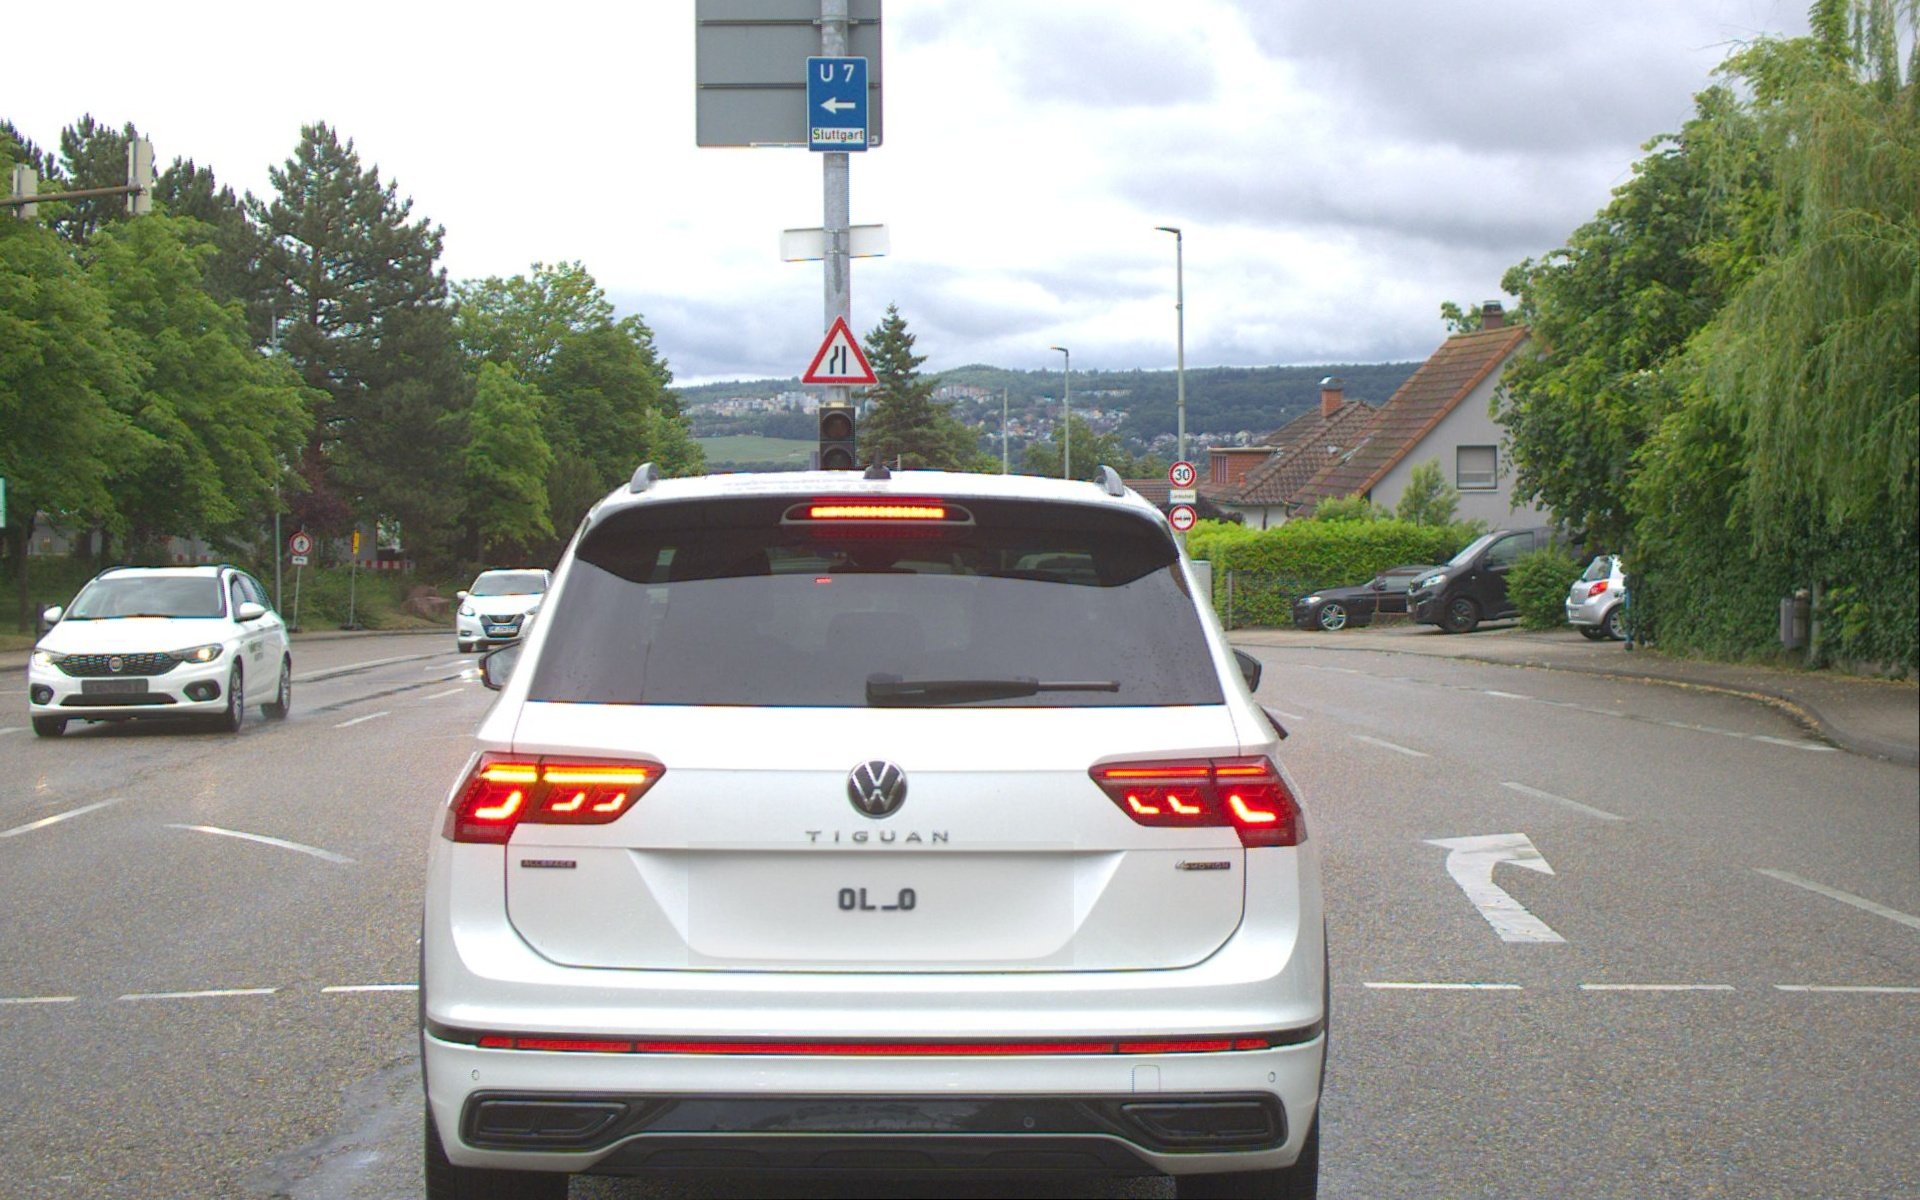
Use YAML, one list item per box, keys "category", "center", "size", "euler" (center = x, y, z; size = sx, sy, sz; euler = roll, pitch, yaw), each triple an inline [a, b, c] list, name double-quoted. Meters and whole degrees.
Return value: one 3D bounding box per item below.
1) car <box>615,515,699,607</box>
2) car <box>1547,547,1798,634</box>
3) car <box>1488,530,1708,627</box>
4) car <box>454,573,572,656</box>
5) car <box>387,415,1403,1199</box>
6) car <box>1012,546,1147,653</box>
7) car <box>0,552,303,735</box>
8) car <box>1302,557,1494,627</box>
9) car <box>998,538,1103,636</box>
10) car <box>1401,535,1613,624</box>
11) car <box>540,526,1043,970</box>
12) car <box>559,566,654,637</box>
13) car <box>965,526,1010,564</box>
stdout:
- category: "car"
  center: [-8.651, -1.139, 98.338]
  size: [2.297, 2.519, 5.775]
  euler: [-1, 1, -5]
- category: "car"
  center: [11.867, -0.153, 57.375]
  size: [3.713, 1.390, 1.729]
  euler: [-1, 0, -7]
- category: "car"
  center: [11.611, -0.405, 62.741]
  size: [3.627, 1.740, 1.708]
  euler: [0, 1, -4]
- category: "car"
  center: [-7.968, 0.235, 61.531]
  size: [1.746, 1.392, 3.802]
  euler: [0, 1, -2]
- category: "car"
  center: [-0.171, 0.505, 8.245]
  size: [1.763, 1.690, 4.273]
  euler: [2, 1, -1]
- category: "car"
  center: [1.697, -0.043, 49.726]
  size: [1.680, 1.455, 3.802]
  euler: [1, 1, -2]
- category: "car"
  center: [-7.390, 0.340, 31.563]
  size: [1.967, 1.449, 4.309]
  euler: [-1, 2, -2]
- category: "car"
  center: [8.899, -0.159, 70.023]
  size: [3.687, 1.365, 1.519]
  euler: [1, -1, -2]
- category: "car"
  center: [1.649, -0.265, 63.616]
  size: [1.712, 1.752, 3.802]
  euler: [0, 1, -2]
- category: "car"
  center: [10.338, -0.398, 65.145]
  size: [3.627, 1.620, 1.792]
  euler: [1, 2, -4]
- category: "car"
  center: [-0.613, 0.500, 14.345]
  size: [1.798, 1.584, 3.926]
  euler: [1, 1, 0]
- category: "car"
  center: [-7.905, 0.006, 77.106]
  size: [1.775, 1.497, 4.472]
  euler: [-1, 1, -2]
- category: "car"
  center: [1.169, -2.356, 146.799]
  size: [1.850, 1.569, 4.000]
  euler: [-1, 1, 0]
